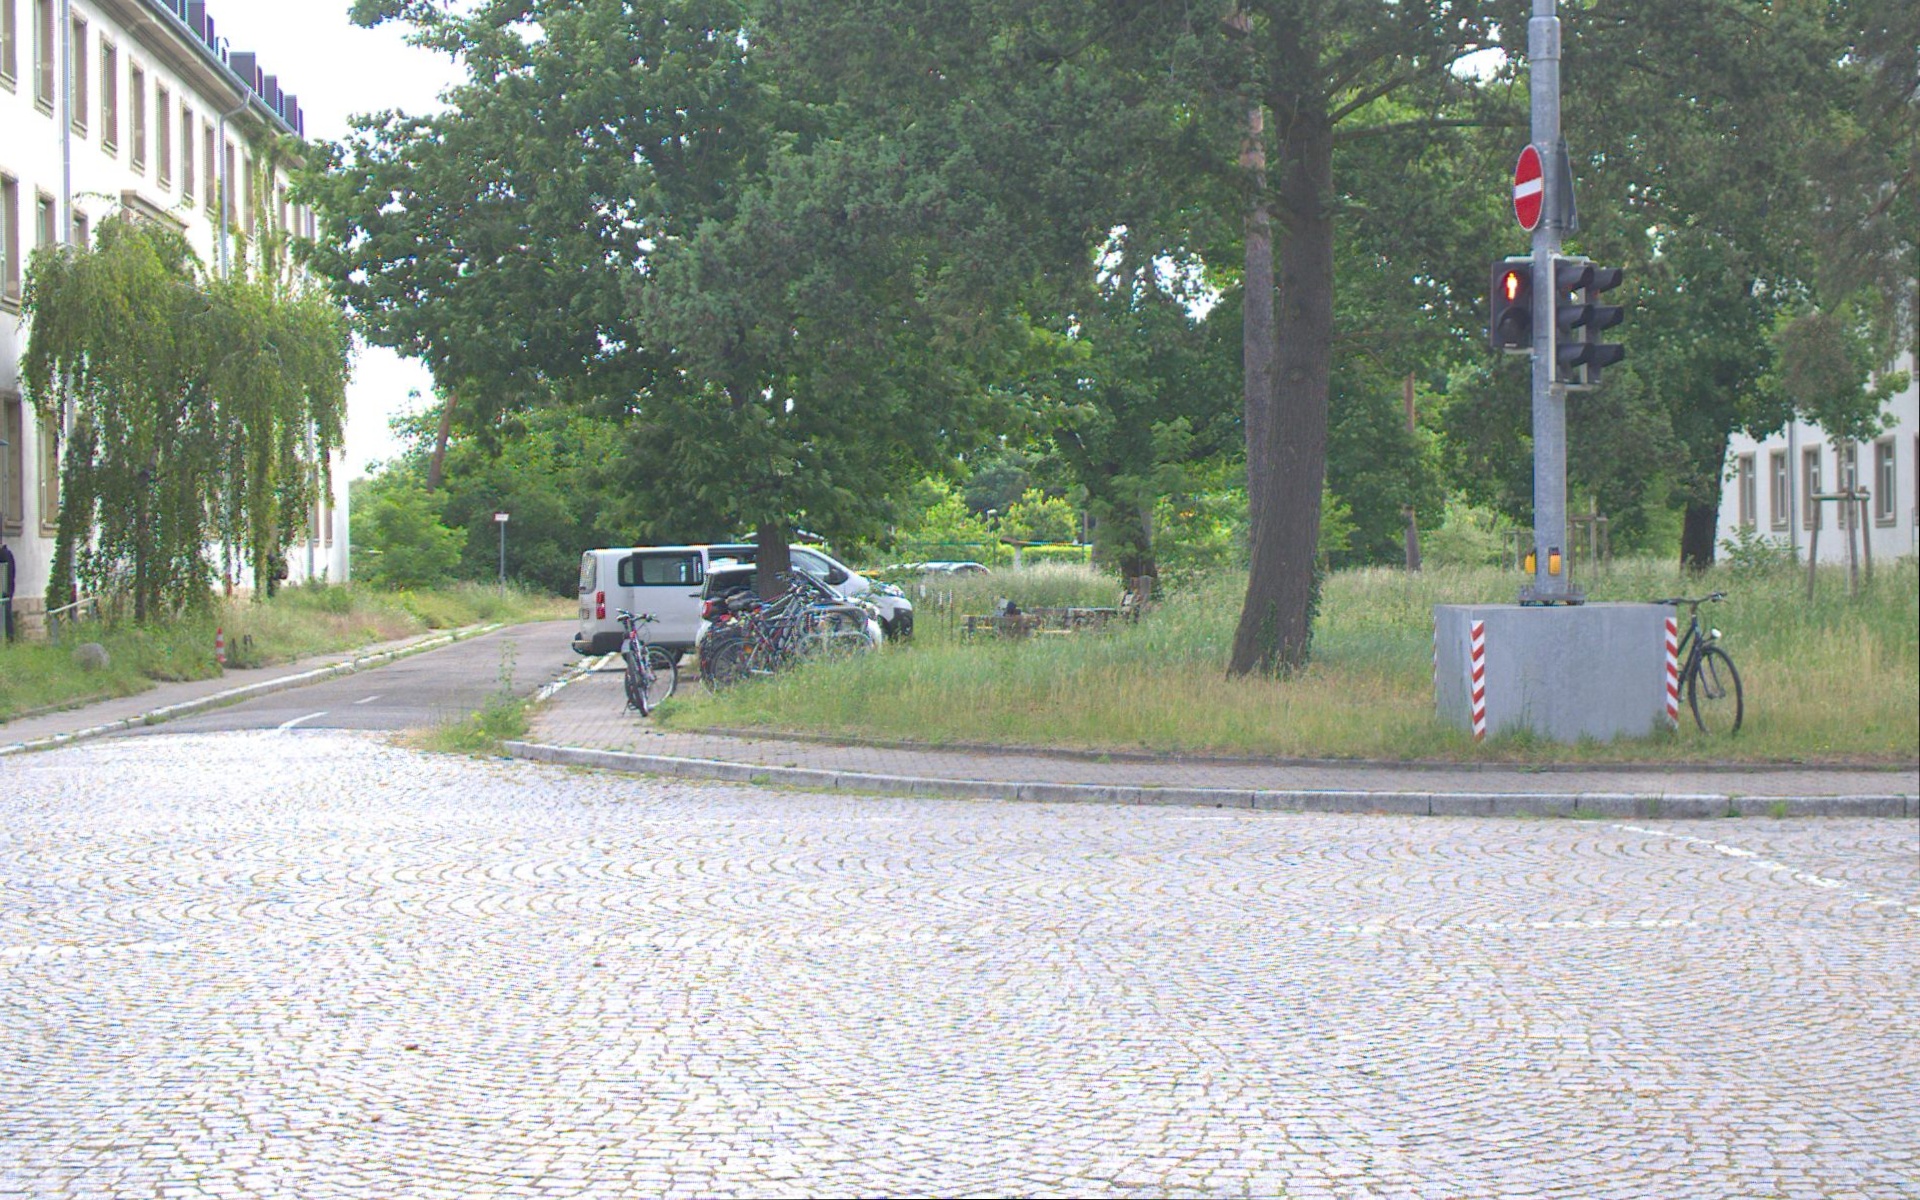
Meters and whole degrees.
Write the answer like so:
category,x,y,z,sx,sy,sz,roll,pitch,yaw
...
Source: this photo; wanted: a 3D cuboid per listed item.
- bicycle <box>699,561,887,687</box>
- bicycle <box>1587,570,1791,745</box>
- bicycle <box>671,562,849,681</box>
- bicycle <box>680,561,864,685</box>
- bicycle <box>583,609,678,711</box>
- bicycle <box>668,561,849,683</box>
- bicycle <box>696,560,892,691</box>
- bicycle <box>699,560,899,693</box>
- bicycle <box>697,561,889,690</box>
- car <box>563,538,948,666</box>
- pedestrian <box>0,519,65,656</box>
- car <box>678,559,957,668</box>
category,x,y,z,sx,sy,sz,roll,pitch,yaw
bicycle,-1.859,0.264,38.312,2.069,1.373,0.620,-1,0,-2
bicycle,5.119,0.381,24.269,0.908,1.173,1.874,-1,1,-4
bicycle,-2.359,0.246,40.575,2.069,1.373,0.620,-1,0,-2
bicycle,-2.133,0.254,39.099,2.069,1.373,0.620,-1,0,-2
bicycle,-3.279,0.584,34.352,0.618,0.960,2.076,-1,1,3
bicycle,-2.329,0.249,39.828,2.069,1.373,0.620,-1,0,-2
bicycle,-1.778,0.270,36.893,2.069,1.373,0.620,-1,0,-2
bicycle,-1.694,0.274,36.225,2.069,1.373,0.620,-1,0,-2
bicycle,-1.819,0.267,37.516,2.069,1.373,0.620,-1,0,-2
car,-3.230,0.007,54.063,5.690,1.904,2.231,-1,1,-15
pedestrian,-14.018,-0.187,51.138,1.087,2.007,1.021,-1,0,2
car,-2.134,0.182,50.744,3.931,1.539,2.000,-1,1,-8
